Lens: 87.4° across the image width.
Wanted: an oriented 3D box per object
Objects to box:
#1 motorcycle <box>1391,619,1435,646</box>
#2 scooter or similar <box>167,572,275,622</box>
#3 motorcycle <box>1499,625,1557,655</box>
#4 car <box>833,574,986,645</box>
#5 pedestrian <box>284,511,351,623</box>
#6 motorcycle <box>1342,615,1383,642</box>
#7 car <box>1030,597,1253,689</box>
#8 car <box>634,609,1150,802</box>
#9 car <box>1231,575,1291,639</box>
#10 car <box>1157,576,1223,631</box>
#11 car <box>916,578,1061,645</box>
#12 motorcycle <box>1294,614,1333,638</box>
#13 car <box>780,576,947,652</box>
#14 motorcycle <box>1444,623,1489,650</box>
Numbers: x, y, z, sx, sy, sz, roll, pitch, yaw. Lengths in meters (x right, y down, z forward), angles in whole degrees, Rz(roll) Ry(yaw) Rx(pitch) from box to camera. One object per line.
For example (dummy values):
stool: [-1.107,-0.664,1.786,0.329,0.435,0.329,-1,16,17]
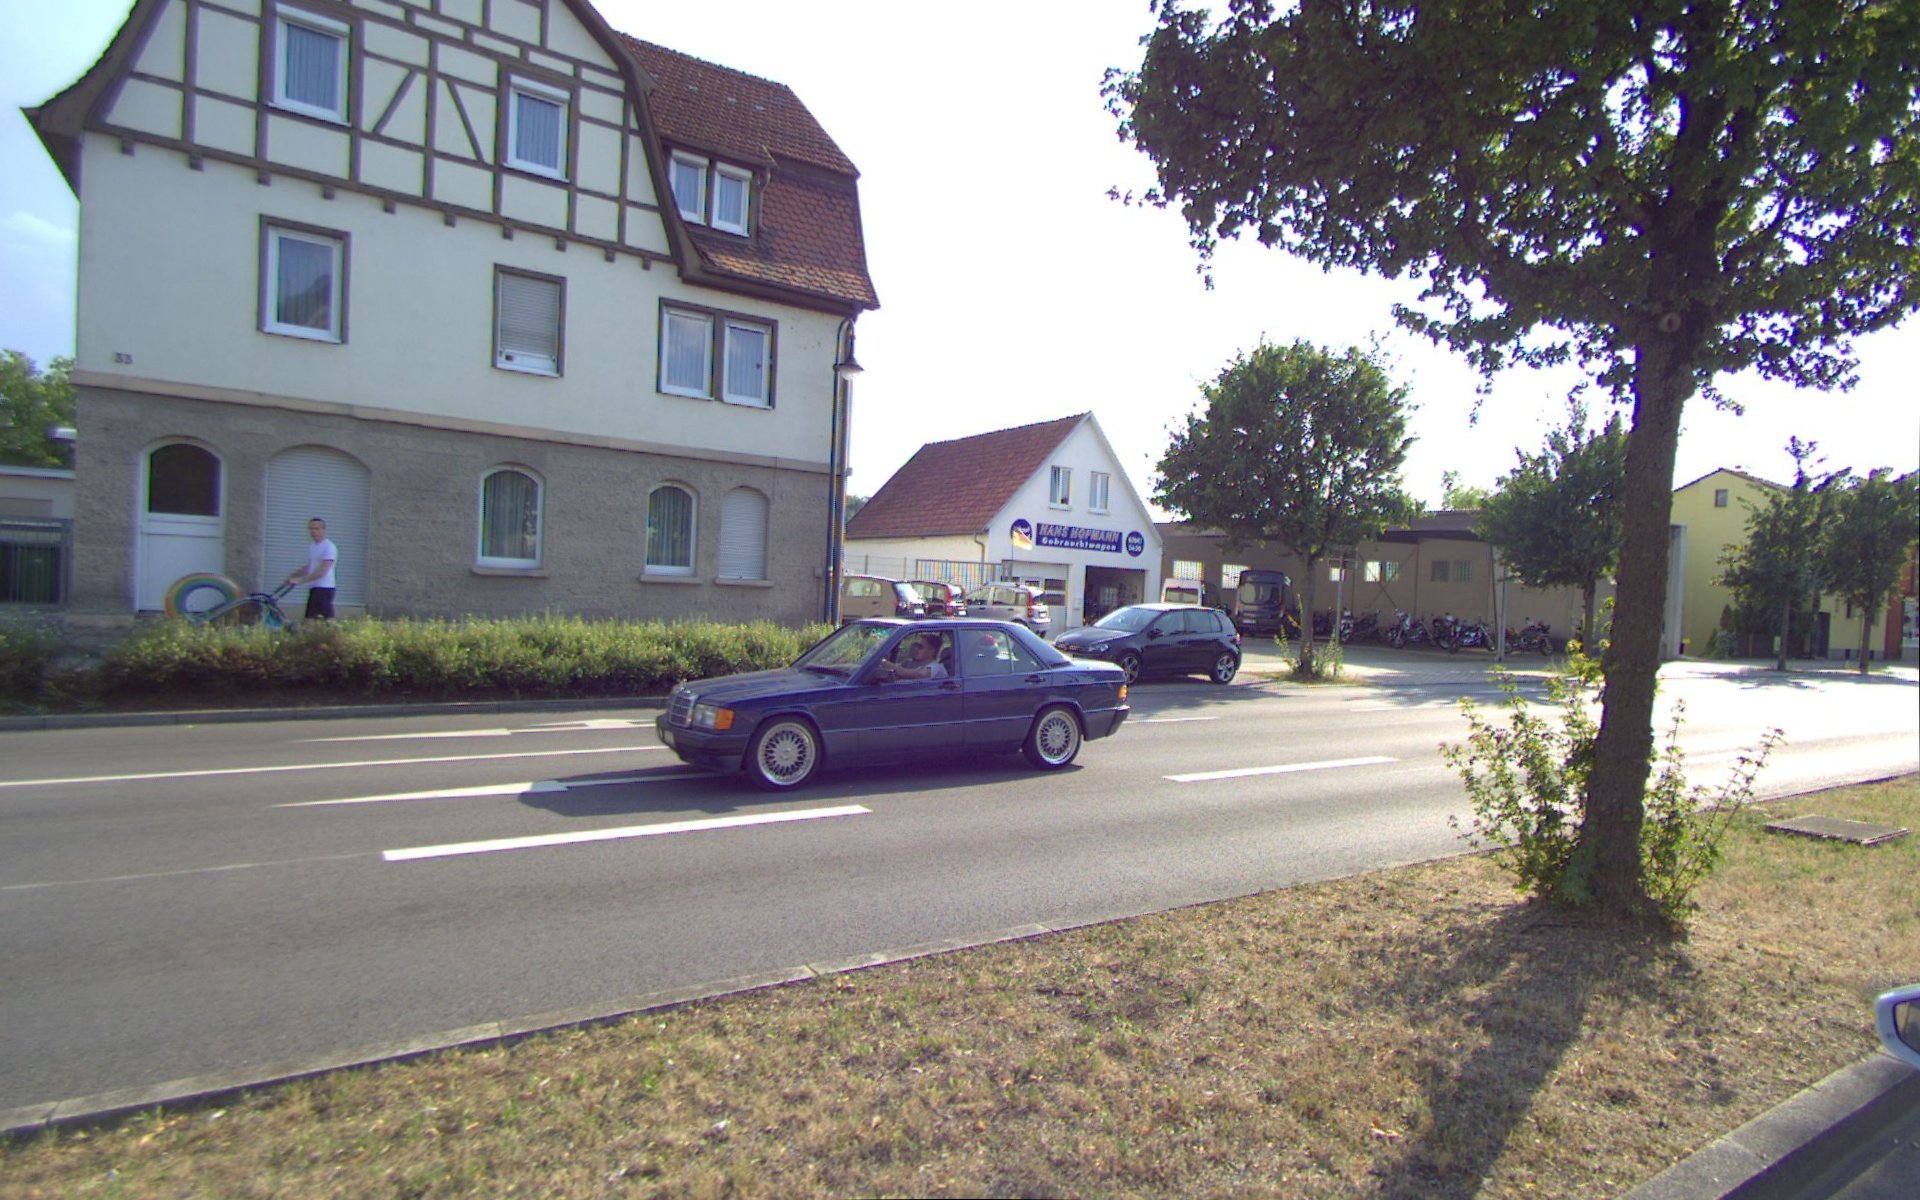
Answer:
motorcycle: [19.029,1.358,42.203,1.604,1.083,0.517,1,0,1]
scooter or similar: [-9.124,-0.029,12.437,1.032,0.590,0.441,1,0,-33]
motorcycle: [21.409,1.506,37.885,1.832,1.083,0.517,1,0,4]
car: [-1.360,0.199,26.560,3.618,1.497,1.819,6,4,34]
pedestrian: [-8.492,-0.420,13.291,0.699,1.413,0.808,1,0,-33]
motorcycle: [17.738,1.253,44.280,1.604,1.121,0.517,1,0,1]
car: [3.548,0.805,19.484,4.086,1.474,1.746,1,4,-32]
car: [-0.516,0.824,9.227,4.434,1.379,1.747,1,0,-32]
car: [12.771,0.233,42.465,2.003,2.367,4.318,5,4,20]
car: [10.392,0.100,45.140,2.004,2.179,4.316,5,4,23]
car: [0.804,0.280,28.229,3.609,1.497,1.823,5,4,22]
motorcycle: [16.348,1.211,46.461,1.604,1.083,0.517,1,0,1]
car: [-2.354,0.310,24.163,3.618,1.548,1.819,4,1,34]
motorcycle: [20.121,1.454,39.876,1.512,1.018,0.517,1,0,-1]
